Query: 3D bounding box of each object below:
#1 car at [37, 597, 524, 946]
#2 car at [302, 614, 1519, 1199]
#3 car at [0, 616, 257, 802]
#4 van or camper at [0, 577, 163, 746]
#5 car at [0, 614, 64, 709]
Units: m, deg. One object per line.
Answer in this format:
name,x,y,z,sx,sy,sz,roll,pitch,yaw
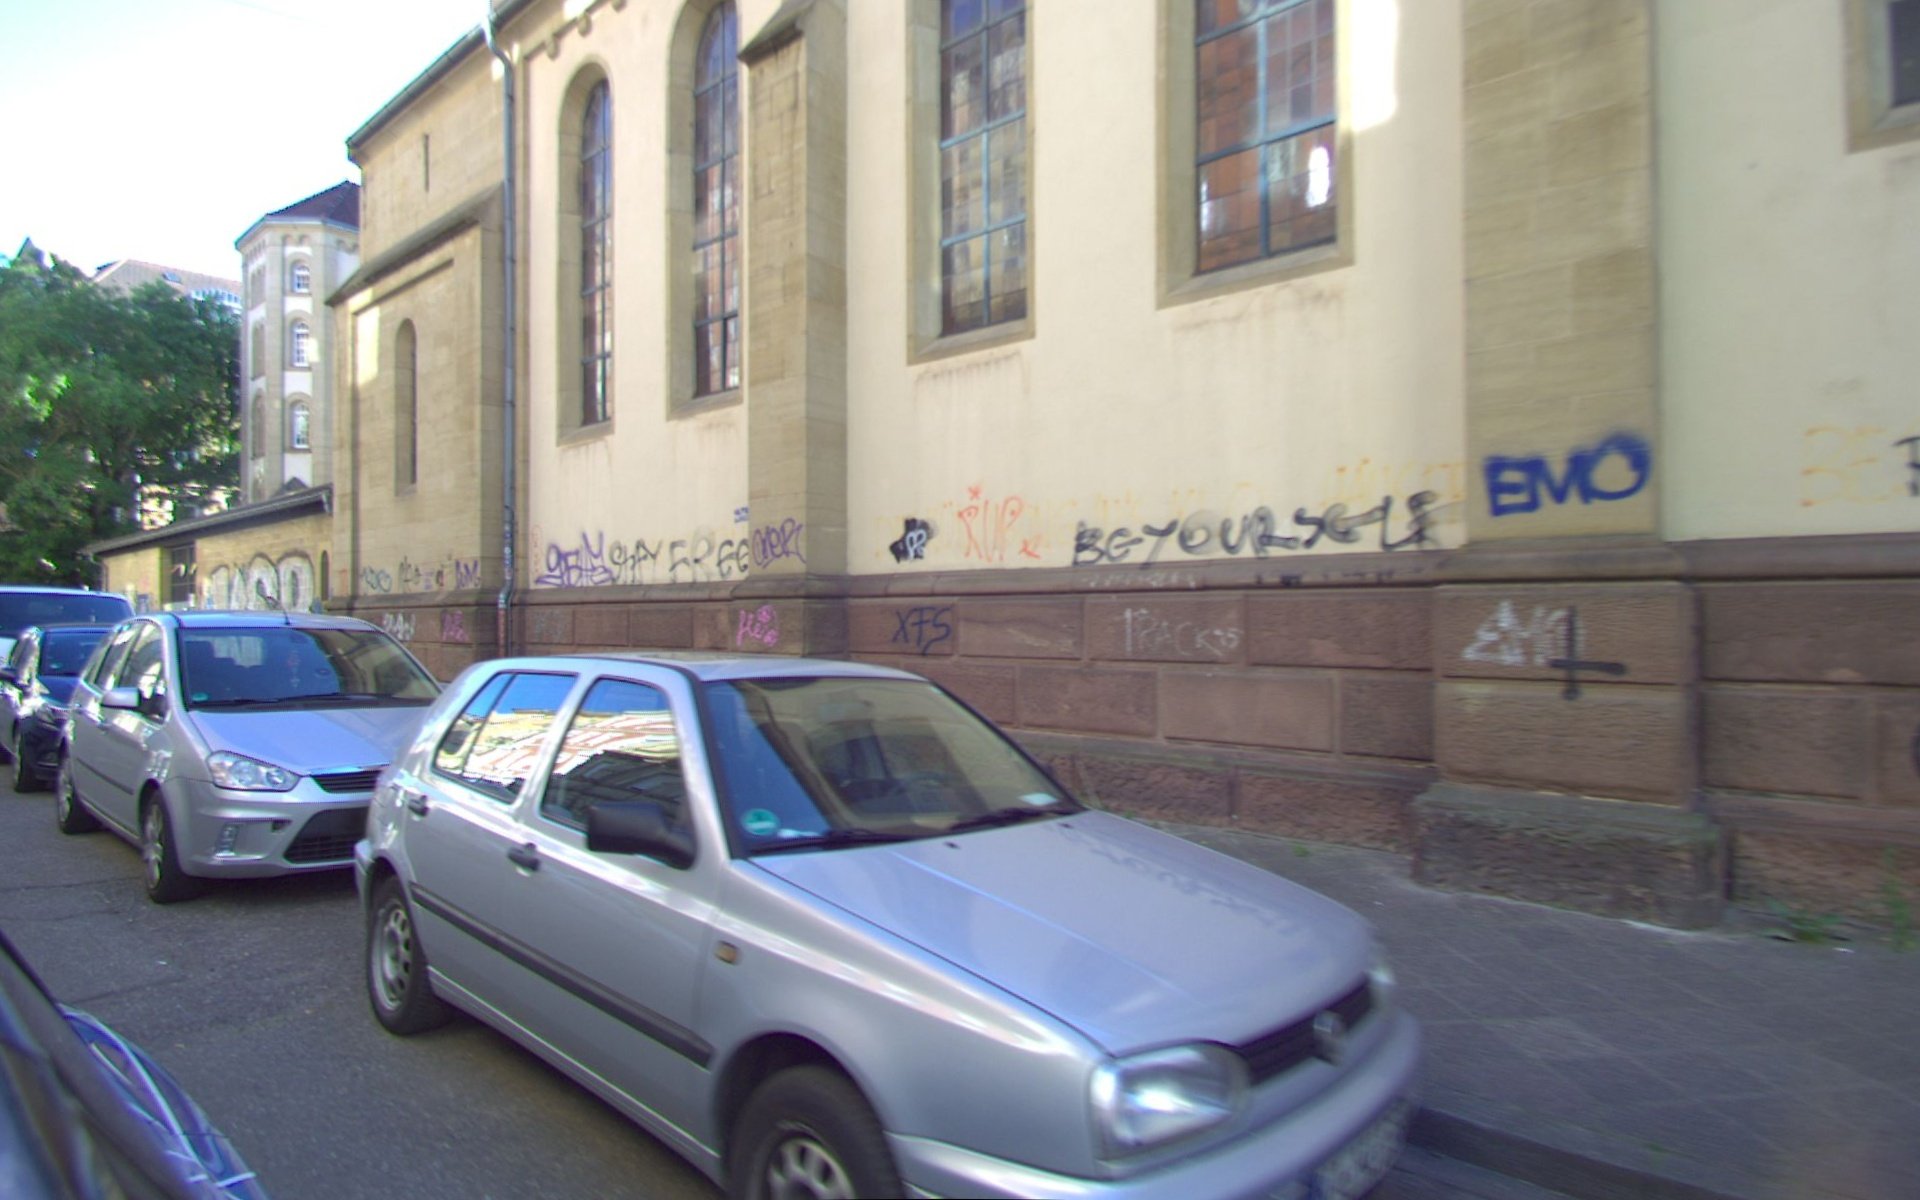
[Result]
car,-4.592,0.792,6.585,3.999,1.579,1.702,-1,0,42
car,-0.655,0.754,3.346,4.145,1.374,1.556,-1,0,42
car,-8.509,0.921,10.044,3.734,1.492,1.674,-1,-1,41
van or camper,-12.589,0.762,13.754,4.560,1.966,1.958,-1,-1,41
car,-17.299,1.052,17.964,3.638,1.578,1.631,-1,-1,41
